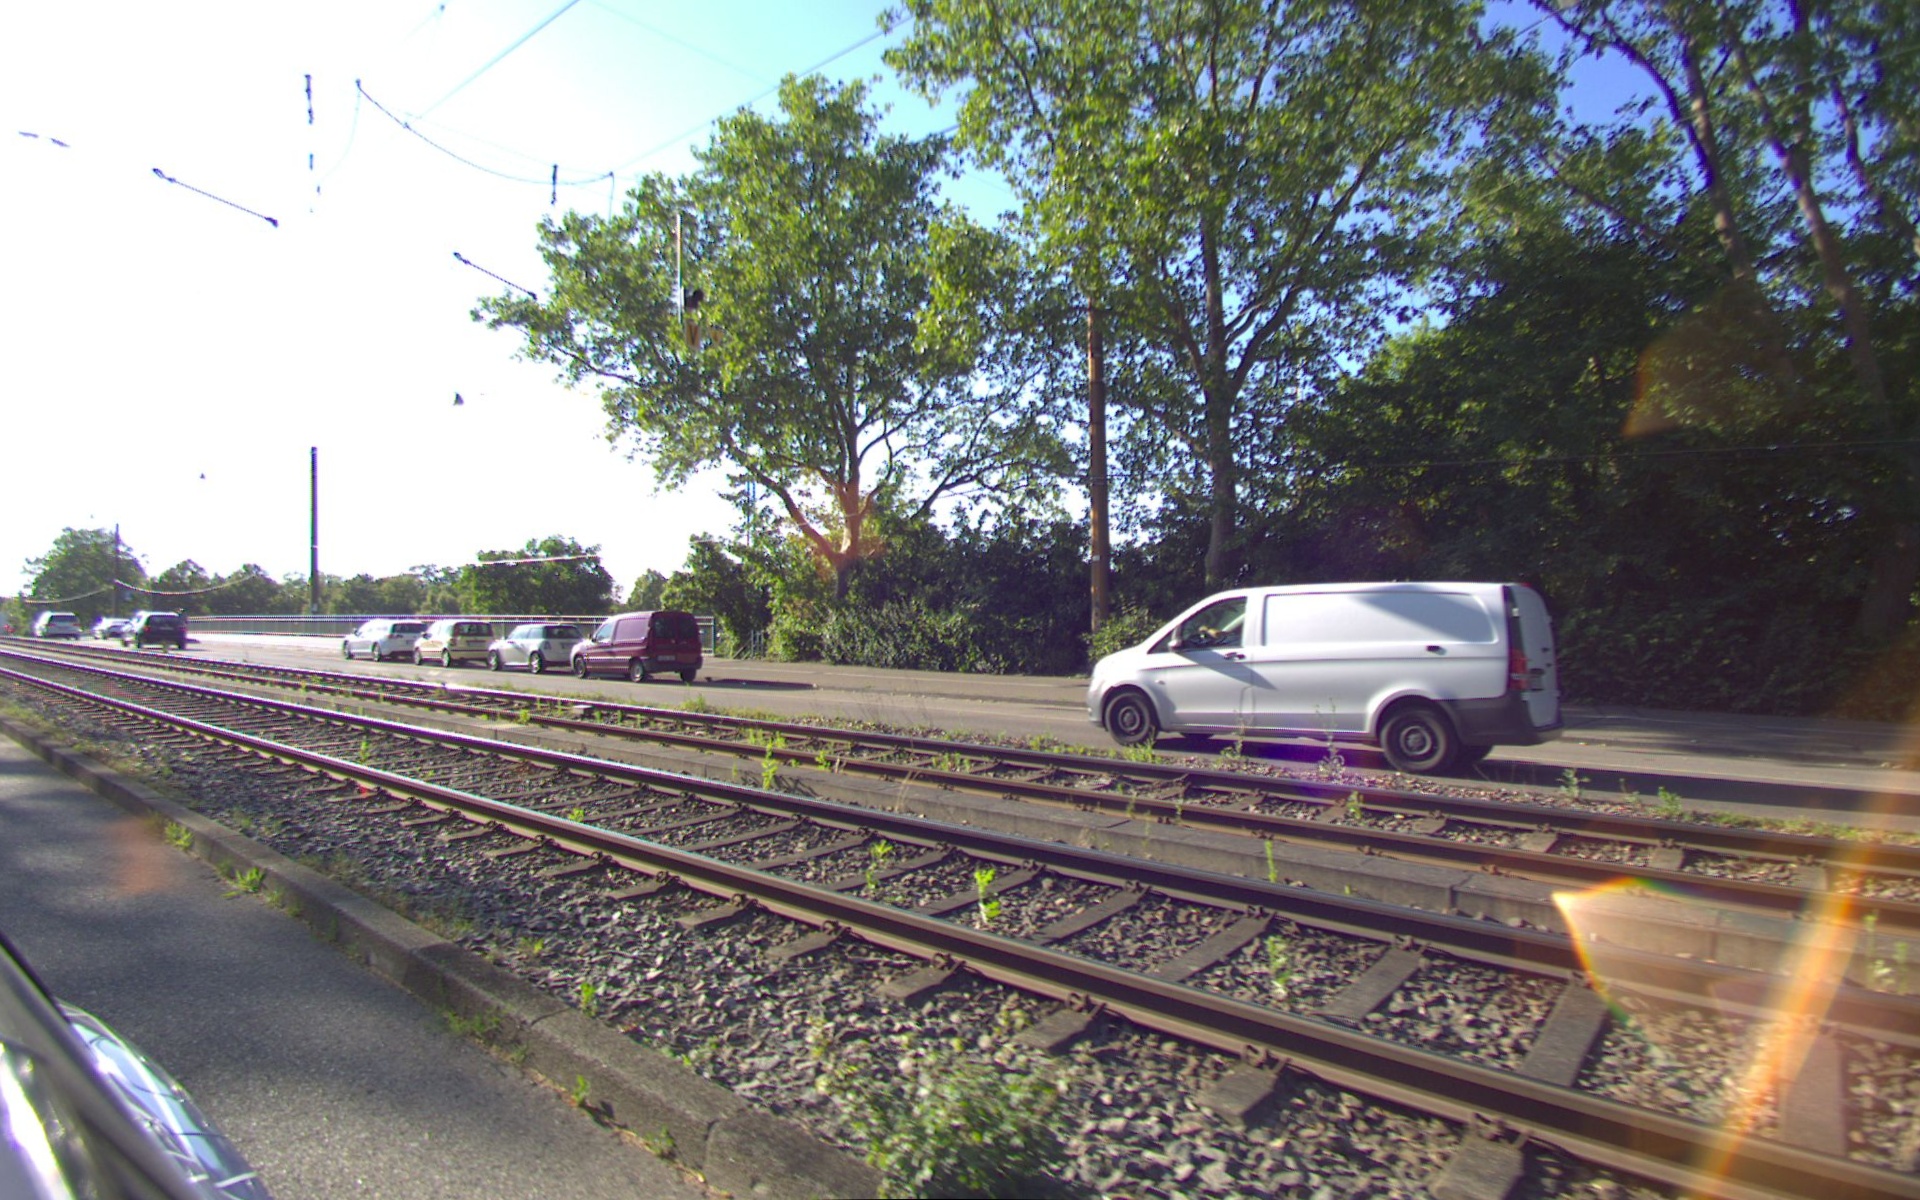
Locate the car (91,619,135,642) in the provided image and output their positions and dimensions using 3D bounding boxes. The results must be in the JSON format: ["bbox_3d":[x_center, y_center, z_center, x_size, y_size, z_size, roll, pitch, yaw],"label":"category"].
[{"bbox_3d":[-57.039,2.057,68.127,3.923,1.511,1.637,-1,-3,41],"label":"car"}]

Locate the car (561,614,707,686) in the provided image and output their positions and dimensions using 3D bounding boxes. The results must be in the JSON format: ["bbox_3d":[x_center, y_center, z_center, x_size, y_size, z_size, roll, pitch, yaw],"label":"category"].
[{"bbox_3d":[-8.498,1.262,26.244,3.895,1.753,1.713,-1,-3,39],"label":"car"}]

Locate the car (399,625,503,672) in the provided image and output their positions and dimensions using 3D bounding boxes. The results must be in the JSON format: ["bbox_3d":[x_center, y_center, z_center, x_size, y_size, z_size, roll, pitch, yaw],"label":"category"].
[{"bbox_3d":[-16.768,1.559,33.273,3.782,1.453,1.637,-1,-3,40],"label":"car"}]

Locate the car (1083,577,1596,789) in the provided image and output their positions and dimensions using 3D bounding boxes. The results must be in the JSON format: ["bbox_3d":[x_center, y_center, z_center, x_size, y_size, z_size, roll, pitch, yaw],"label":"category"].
[{"bbox_3d":[3.979,0.800,11.238,5.032,1.866,1.808,-1,-3,40],"label":"car"}]

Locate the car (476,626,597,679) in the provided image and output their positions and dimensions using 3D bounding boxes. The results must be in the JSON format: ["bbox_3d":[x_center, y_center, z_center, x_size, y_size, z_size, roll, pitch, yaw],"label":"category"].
[{"bbox_3d":[-12.511,1.504,29.816,3.781,1.453,1.638,-1,-3,39],"label":"car"}]

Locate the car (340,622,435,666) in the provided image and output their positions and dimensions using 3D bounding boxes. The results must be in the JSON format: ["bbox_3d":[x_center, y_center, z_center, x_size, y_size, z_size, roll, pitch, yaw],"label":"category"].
[{"bbox_3d":[-20.843,1.583,36.816,3.920,1.511,1.638,-1,-3,39],"label":"car"}]

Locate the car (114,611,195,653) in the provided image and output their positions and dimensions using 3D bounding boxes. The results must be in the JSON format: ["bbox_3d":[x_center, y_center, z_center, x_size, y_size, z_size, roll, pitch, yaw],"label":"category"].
[{"bbox_3d":[-37.729,1.476,47.355,4.959,1.866,1.963,-1,-3,40],"label":"car"}]

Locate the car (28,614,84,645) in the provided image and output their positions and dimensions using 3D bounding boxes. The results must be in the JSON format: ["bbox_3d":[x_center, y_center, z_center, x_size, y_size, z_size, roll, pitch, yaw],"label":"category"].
[{"bbox_3d":[-58.718,1.909,65.711,4.959,1.866,1.963,-1,-3,40],"label":"car"}]
